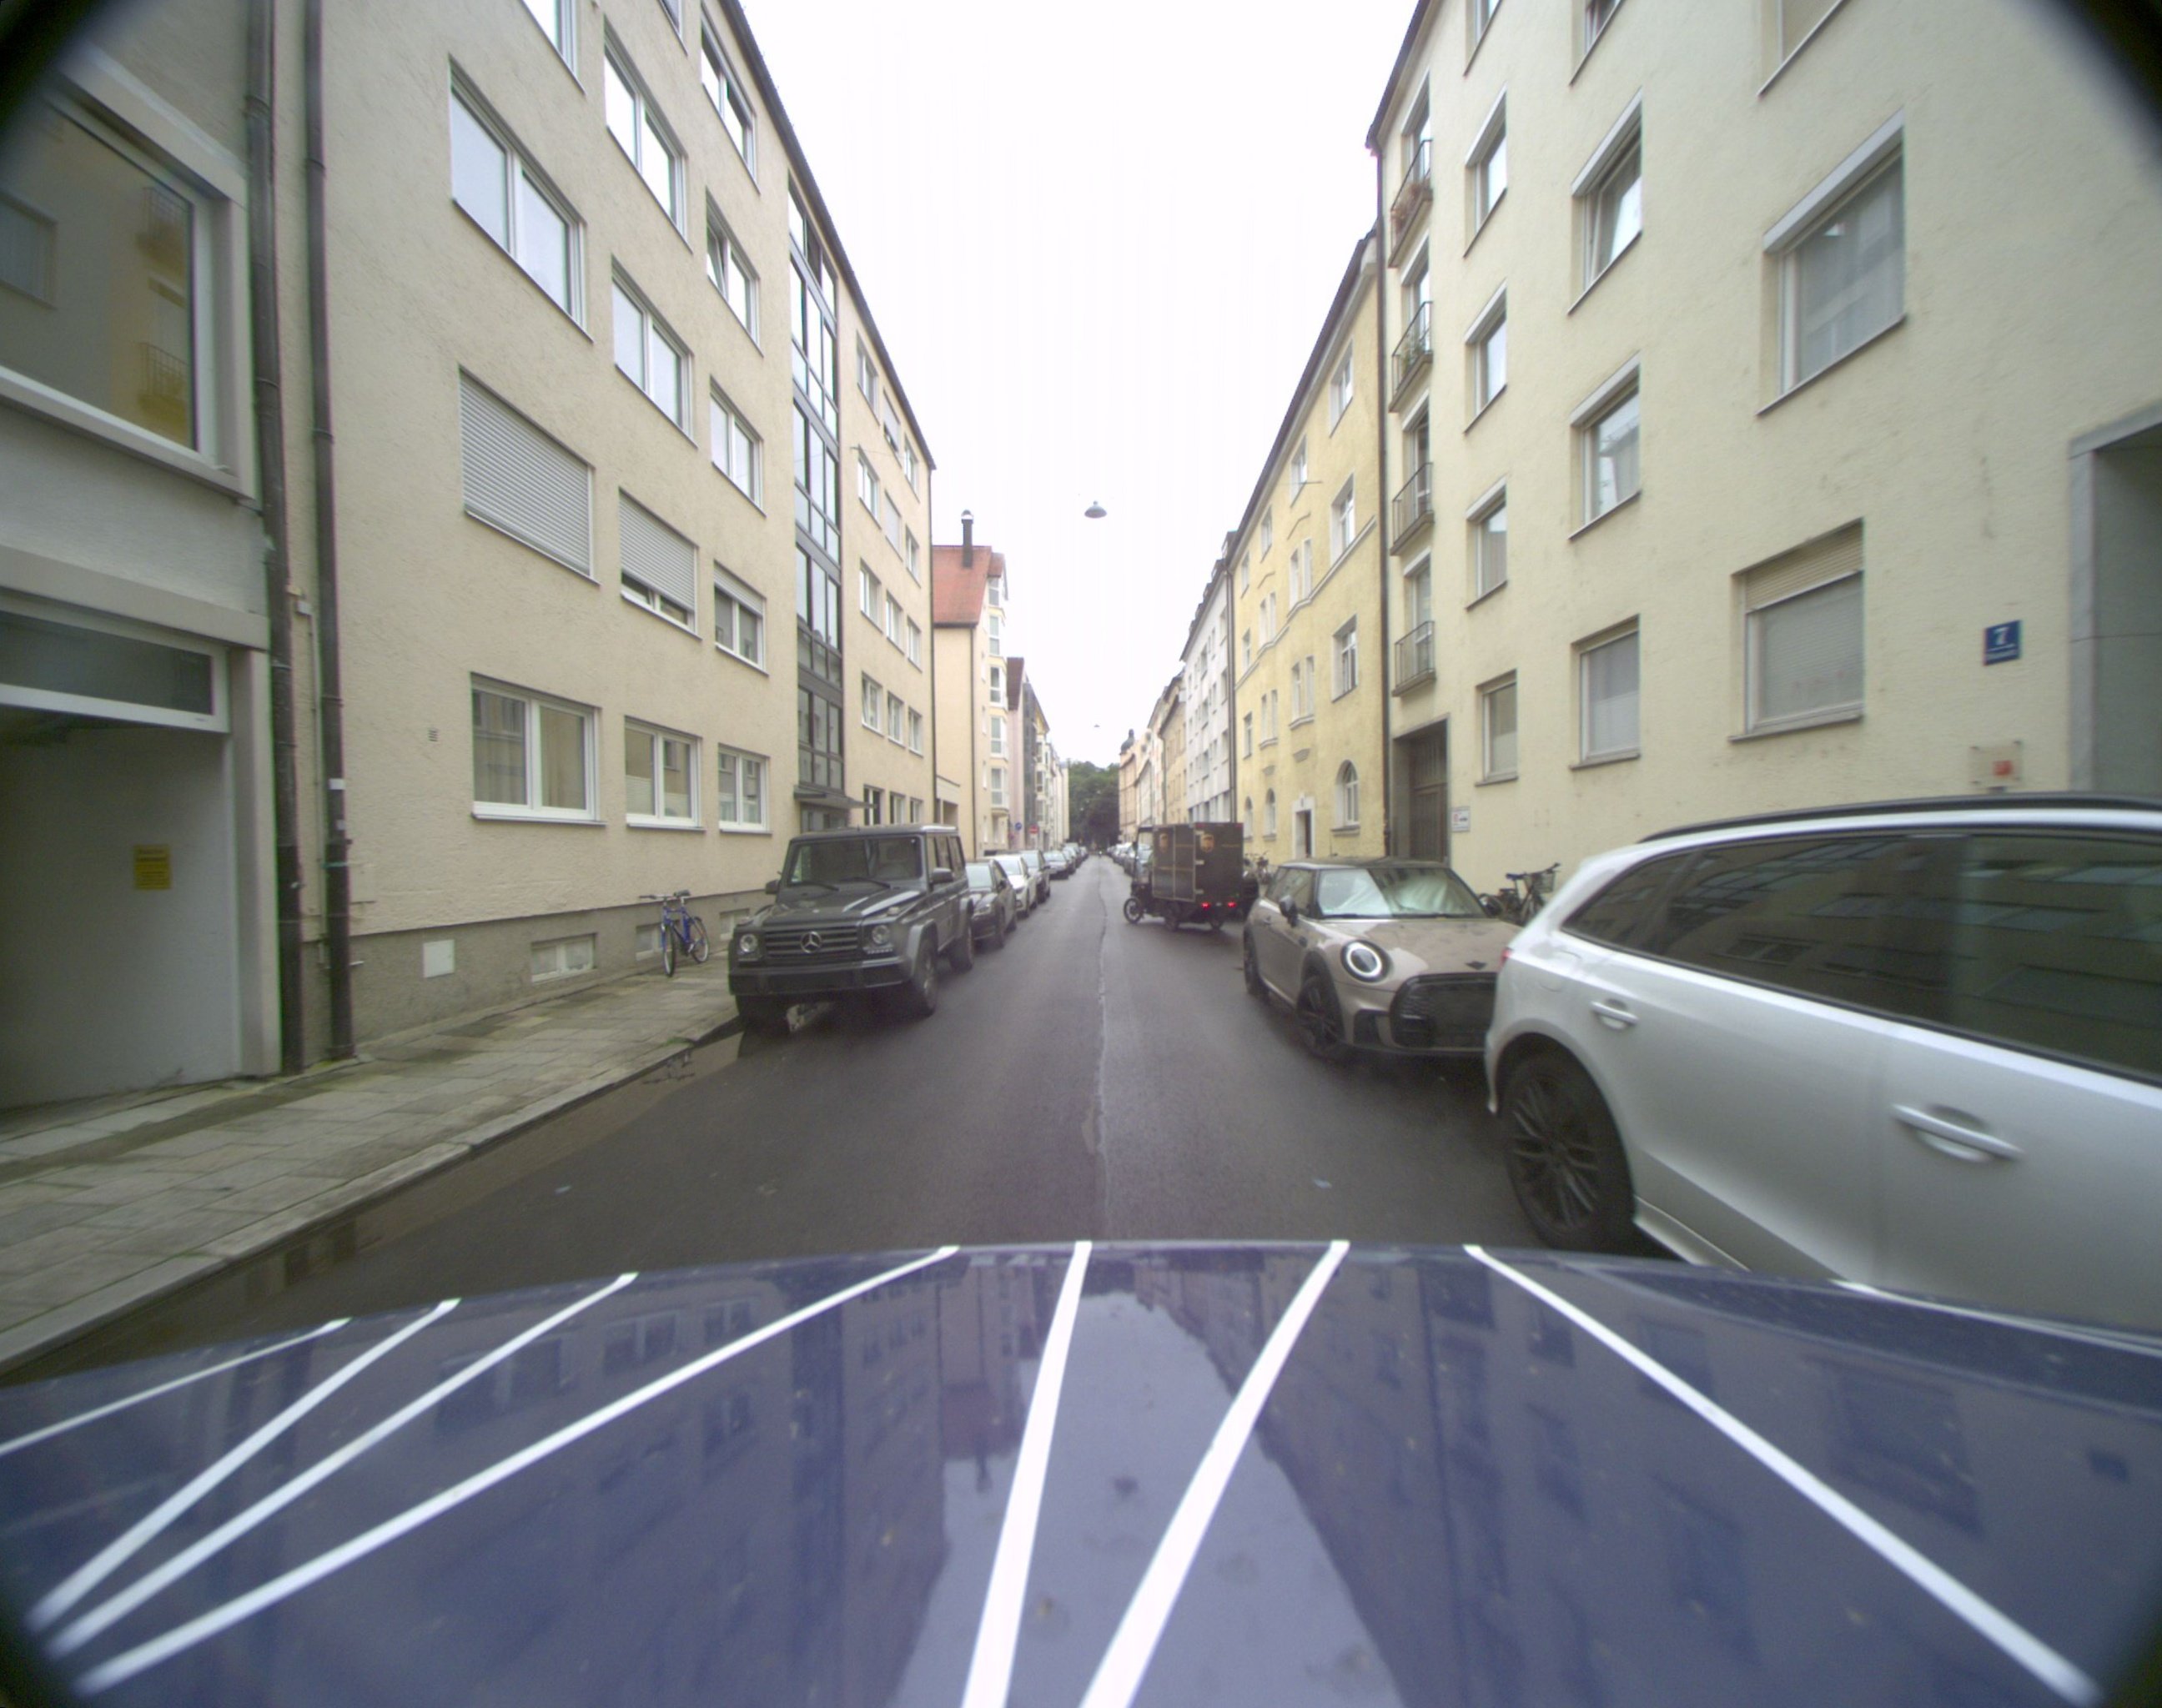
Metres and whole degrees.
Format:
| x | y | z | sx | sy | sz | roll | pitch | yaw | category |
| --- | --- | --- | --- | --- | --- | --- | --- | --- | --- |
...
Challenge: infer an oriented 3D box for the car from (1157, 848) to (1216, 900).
| x | y | z | sx | sy | sz | roll | pitch | yaw | category |
| --- | --- | --- | --- | --- | --- | --- | --- | --- | --- |
| 3.248 | 0.572 | 23.864 | 1.566 | 1.452 | 3.475 | 0 | 1 | 3 | car |

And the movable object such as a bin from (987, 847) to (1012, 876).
| x | y | z | sx | sy | sz | roll | pitch | yaw | category |
| --- | --- | --- | --- | --- | --- | --- | --- | --- | --- |
| -4.149 | 0.352 | 38.816 | 1.034 | 1.415 | 1.586 | 1 | 2 | 2 | movable object such as a bin |

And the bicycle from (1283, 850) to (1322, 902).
| x | y | z | sx | sy | sz | roll | pitch | yaw | category |
| --- | --- | --- | --- | --- | --- | --- | --- | --- | --- |
| 5.824 | 0.555 | 20.025 | 0.536 | 1.271 | 1.551 | -4 | 1 | 1 | bicycle |

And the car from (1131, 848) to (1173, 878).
| x | y | z | sx | sy | sz | roll | pitch | yaw | category |
| --- | --- | --- | --- | --- | --- | --- | --- | --- | --- |
| 3.602 | 0.404 | 39.172 | 1.816 | 1.378 | 4.250 | 1 | 2 | 0 | car |

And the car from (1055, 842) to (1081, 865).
| x | y | z | sx | sy | sz | roll | pitch | yaw | category |
| --- | --- | --- | --- | --- | --- | --- | --- | --- | --- |
| -0.948 | -0.058 | 58.624 | 1.837 | 1.612 | 4.410 | -2 | 1 | 0 | car |

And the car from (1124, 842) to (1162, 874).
| x | y | z | sx | sy | sz | roll | pitch | yaw | category |
| --- | --- | --- | --- | --- | --- | --- | --- | --- | --- |
| 3.559 | 0.180 | 44.416 | 1.867 | 1.760 | 4.734 | 1 | 1 | 0 | car |

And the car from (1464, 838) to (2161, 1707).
| x | y | z | sx | sy | sz | roll | pitch | yaw | category |
| --- | --- | --- | --- | --- | --- | --- | --- | --- | --- |
| 2.537 | 0.806 | 1.150 | 1.770 | 1.666 | 4.367 | 0 | 1 | 1 | car |

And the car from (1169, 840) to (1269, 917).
| x | y | z | sx | sy | sz | roll | pitch | yaw | category |
| --- | --- | --- | --- | --- | --- | --- | --- | --- | --- |
| 3.204 | 0.495 | 18.473 | 1.883 | 1.650 | 4.415 | 0 | 1 | 3 | car |

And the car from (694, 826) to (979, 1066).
| x | y | z | sx | sy | sz | roll | pitch | yaw | category |
| --- | --- | --- | --- | --- | --- | --- | --- | --- | --- |
| -2.385 | 0.786 | 8.695 | 1.755 | 1.964 | 4.342 | -3 | 0 | 0 | car |

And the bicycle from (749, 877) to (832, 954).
| x | y | z | sx | sy | sz | roll | pitch | yaw | category |
| --- | --- | --- | --- | --- | --- | --- | --- | --- | --- |
| -4.888 | 1.003 | 12.897 | 0.656 | 1.100 | 1.760 | 3 | 1 | 1 | bicycle |

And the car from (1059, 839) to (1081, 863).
| x | y | z | sx | sy | sz | roll | pitch | yaw | category |
| --- | --- | --- | --- | --- | --- | --- | --- | --- | --- |
| -0.971 | -0.295 | 69.571 | 1.877 | 2.002 | 5.105 | -2 | 2 | 1 | car |

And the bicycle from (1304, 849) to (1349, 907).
| x | y | z | sx | sy | sz | roll | pitch | yaw | category |
| --- | --- | --- | --- | --- | --- | --- | --- | --- | --- |
| 5.867 | 0.542 | 18.234 | 0.536 | 1.271 | 1.551 | -4 | 2 | 1 | bicycle |

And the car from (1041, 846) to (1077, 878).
| x | y | z | sx | sy | sz | roll | pitch | yaw | category |
| --- | --- | --- | --- | --- | --- | --- | --- | --- | --- |
| -1.145 | 0.383 | 39.812 | 1.721 | 1.463 | 4.530 | -2 | 1 | -1 | car |

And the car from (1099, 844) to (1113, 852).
| x | y | z | sx | sy | sz | roll | pitch | yaw | category |
| --- | --- | --- | --- | --- | --- | --- | --- | --- | --- |
| 4.613 | -1.146 | 141.294 | 1.800 | 1.502 | 3.996 | 1 | 1 | -10 | car |

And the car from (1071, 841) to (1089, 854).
| x | y | z | sx | sy | sz | roll | pitch | yaw | category |
| --- | --- | --- | --- | --- | --- | --- | --- | --- | --- |
| -0.139 | -0.755 | 86.931 | 1.749 | 1.433 | 4.227 | -2 | 1 | -2 | car |

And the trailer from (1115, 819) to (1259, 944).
| x | y | z | sx | sy | sz | roll | pitch | yaw | category |
| --- | --- | --- | --- | --- | --- | --- | --- | --- | --- |
| 1.929 | 0.445 | 14.702 | 1.361 | 2.104 | 3.312 | -2 | 2 | -19 | trailer |

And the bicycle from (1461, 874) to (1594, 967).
| x | y | z | sx | sy | sz | roll | pitch | yaw | category |
| --- | --- | --- | --- | --- | --- | --- | --- | --- | --- |
| 5.715 | 0.812 | 9.859 | 0.696 | 1.021 | 1.814 | -2 | 0 | 3 | bicycle |

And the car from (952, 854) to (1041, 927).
| x | y | z | sx | sy | sz | roll | pitch | yaw | category |
| --- | --- | --- | --- | --- | --- | --- | --- | --- | --- |
| -1.992 | 0.806 | 18.994 | 1.716 | 1.477 | 4.243 | -2 | 1 | 0 | car |

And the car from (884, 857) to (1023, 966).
| x | y | z | sx | sy | sz | roll | pitch | yaw | category |
| --- | --- | --- | --- | --- | --- | --- | --- | --- | --- |
| -2.082 | 0.867 | 13.534 | 1.716 | 1.477 | 4.243 | -2 | 1 | 0 | car |

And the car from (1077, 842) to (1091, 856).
| x | y | z | sx | sy | sz | roll | pitch | yaw | category |
| --- | --- | --- | --- | --- | --- | --- | --- | --- | --- |
| 0.421 | -0.657 | 102.781 | 1.739 | 1.743 | 3.685 | -2 | 1 | 1 | car |

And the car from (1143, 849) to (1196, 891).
| x | y | z | sx | sy | sz | roll | pitch | yaw | category |
| --- | --- | --- | --- | --- | --- | --- | --- | --- | --- |
| 3.266 | 0.546 | 28.588 | 1.567 | 1.452 | 3.763 | 0 | 1 | 0 | car |

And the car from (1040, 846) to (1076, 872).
| x | y | z | sx | sy | sz | roll | pitch | yaw | category |
| --- | --- | --- | --- | --- | --- | --- | --- | --- | --- |
| -1.345 | 0.253 | 45.764 | 1.837 | 1.398 | 4.410 | -2 | 1 | 2 | car |

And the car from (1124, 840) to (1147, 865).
| x | y | z | sx | sy | sz | roll | pitch | yaw | category |
| --- | --- | --- | --- | --- | --- | --- | --- | --- | --- |
| 4.149 | -0.155 | 58.275 | 1.728 | 1.779 | 4.248 | 1 | 2 | 3 | car |

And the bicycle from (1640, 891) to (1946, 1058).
| x | y | z | sx | sy | sz | roll | pitch | yaw | category |
| --- | --- | --- | --- | --- | --- | --- | --- | --- | --- |
| 5.539 | 0.867 | 6.103 | 0.732 | 1.021 | 1.813 | -2 | 0 | -1 | bicycle |

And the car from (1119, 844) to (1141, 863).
| x | y | z | sx | sy | sz | roll | pitch | yaw | category |
| --- | --- | --- | --- | --- | --- | --- | --- | --- | --- |
| 4.088 | -0.054 | 63.613 | 1.676 | 1.467 | 4.112 | 1 | 1 | 2 | car |

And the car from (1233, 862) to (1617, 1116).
| x | y | z | sx | sy | sz | roll | pitch | yaw | category |
| --- | --- | --- | --- | --- | --- | --- | --- | --- | --- |
| 2.440 | 0.833 | 6.475 | 1.656 | 1.427 | 3.802 | 0 | 1 | 2 | car |

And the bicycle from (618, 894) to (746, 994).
| x | y | z | sx | sy | sz | roll | pitch | yaw | category |
| --- | --- | --- | --- | --- | --- | --- | --- | --- | --- |
| -5.094 | 1.102 | 9.839 | 0.645 | 1.023 | 1.797 | 3 | 1 | 1 | bicycle |

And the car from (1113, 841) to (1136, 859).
| x | y | z | sx | sy | sz | roll | pitch | yaw | category |
| --- | --- | --- | --- | --- | --- | --- | --- | --- | --- |
| 4.158 | -0.401 | 73.142 | 1.785 | 1.596 | 4.307 | 1 | 1 | -2 | car |

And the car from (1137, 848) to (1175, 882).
| x | y | z | sx | sy | sz | roll | pitch | yaw | category |
| --- | --- | --- | --- | --- | --- | --- | --- | --- | --- |
| 3.355 | 0.466 | 34.447 | 1.566 | 1.452 | 3.404 | 0 | 1 | 3 | car |

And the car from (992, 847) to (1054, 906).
| x | y | z | sx | sy | sz | roll | pitch | yaw | category |
| --- | --- | --- | --- | --- | --- | --- | --- | --- | --- |
| -1.758 | 0.644 | 24.229 | 1.716 | 1.599 | 4.242 | -2 | 1 | -1 | car |
